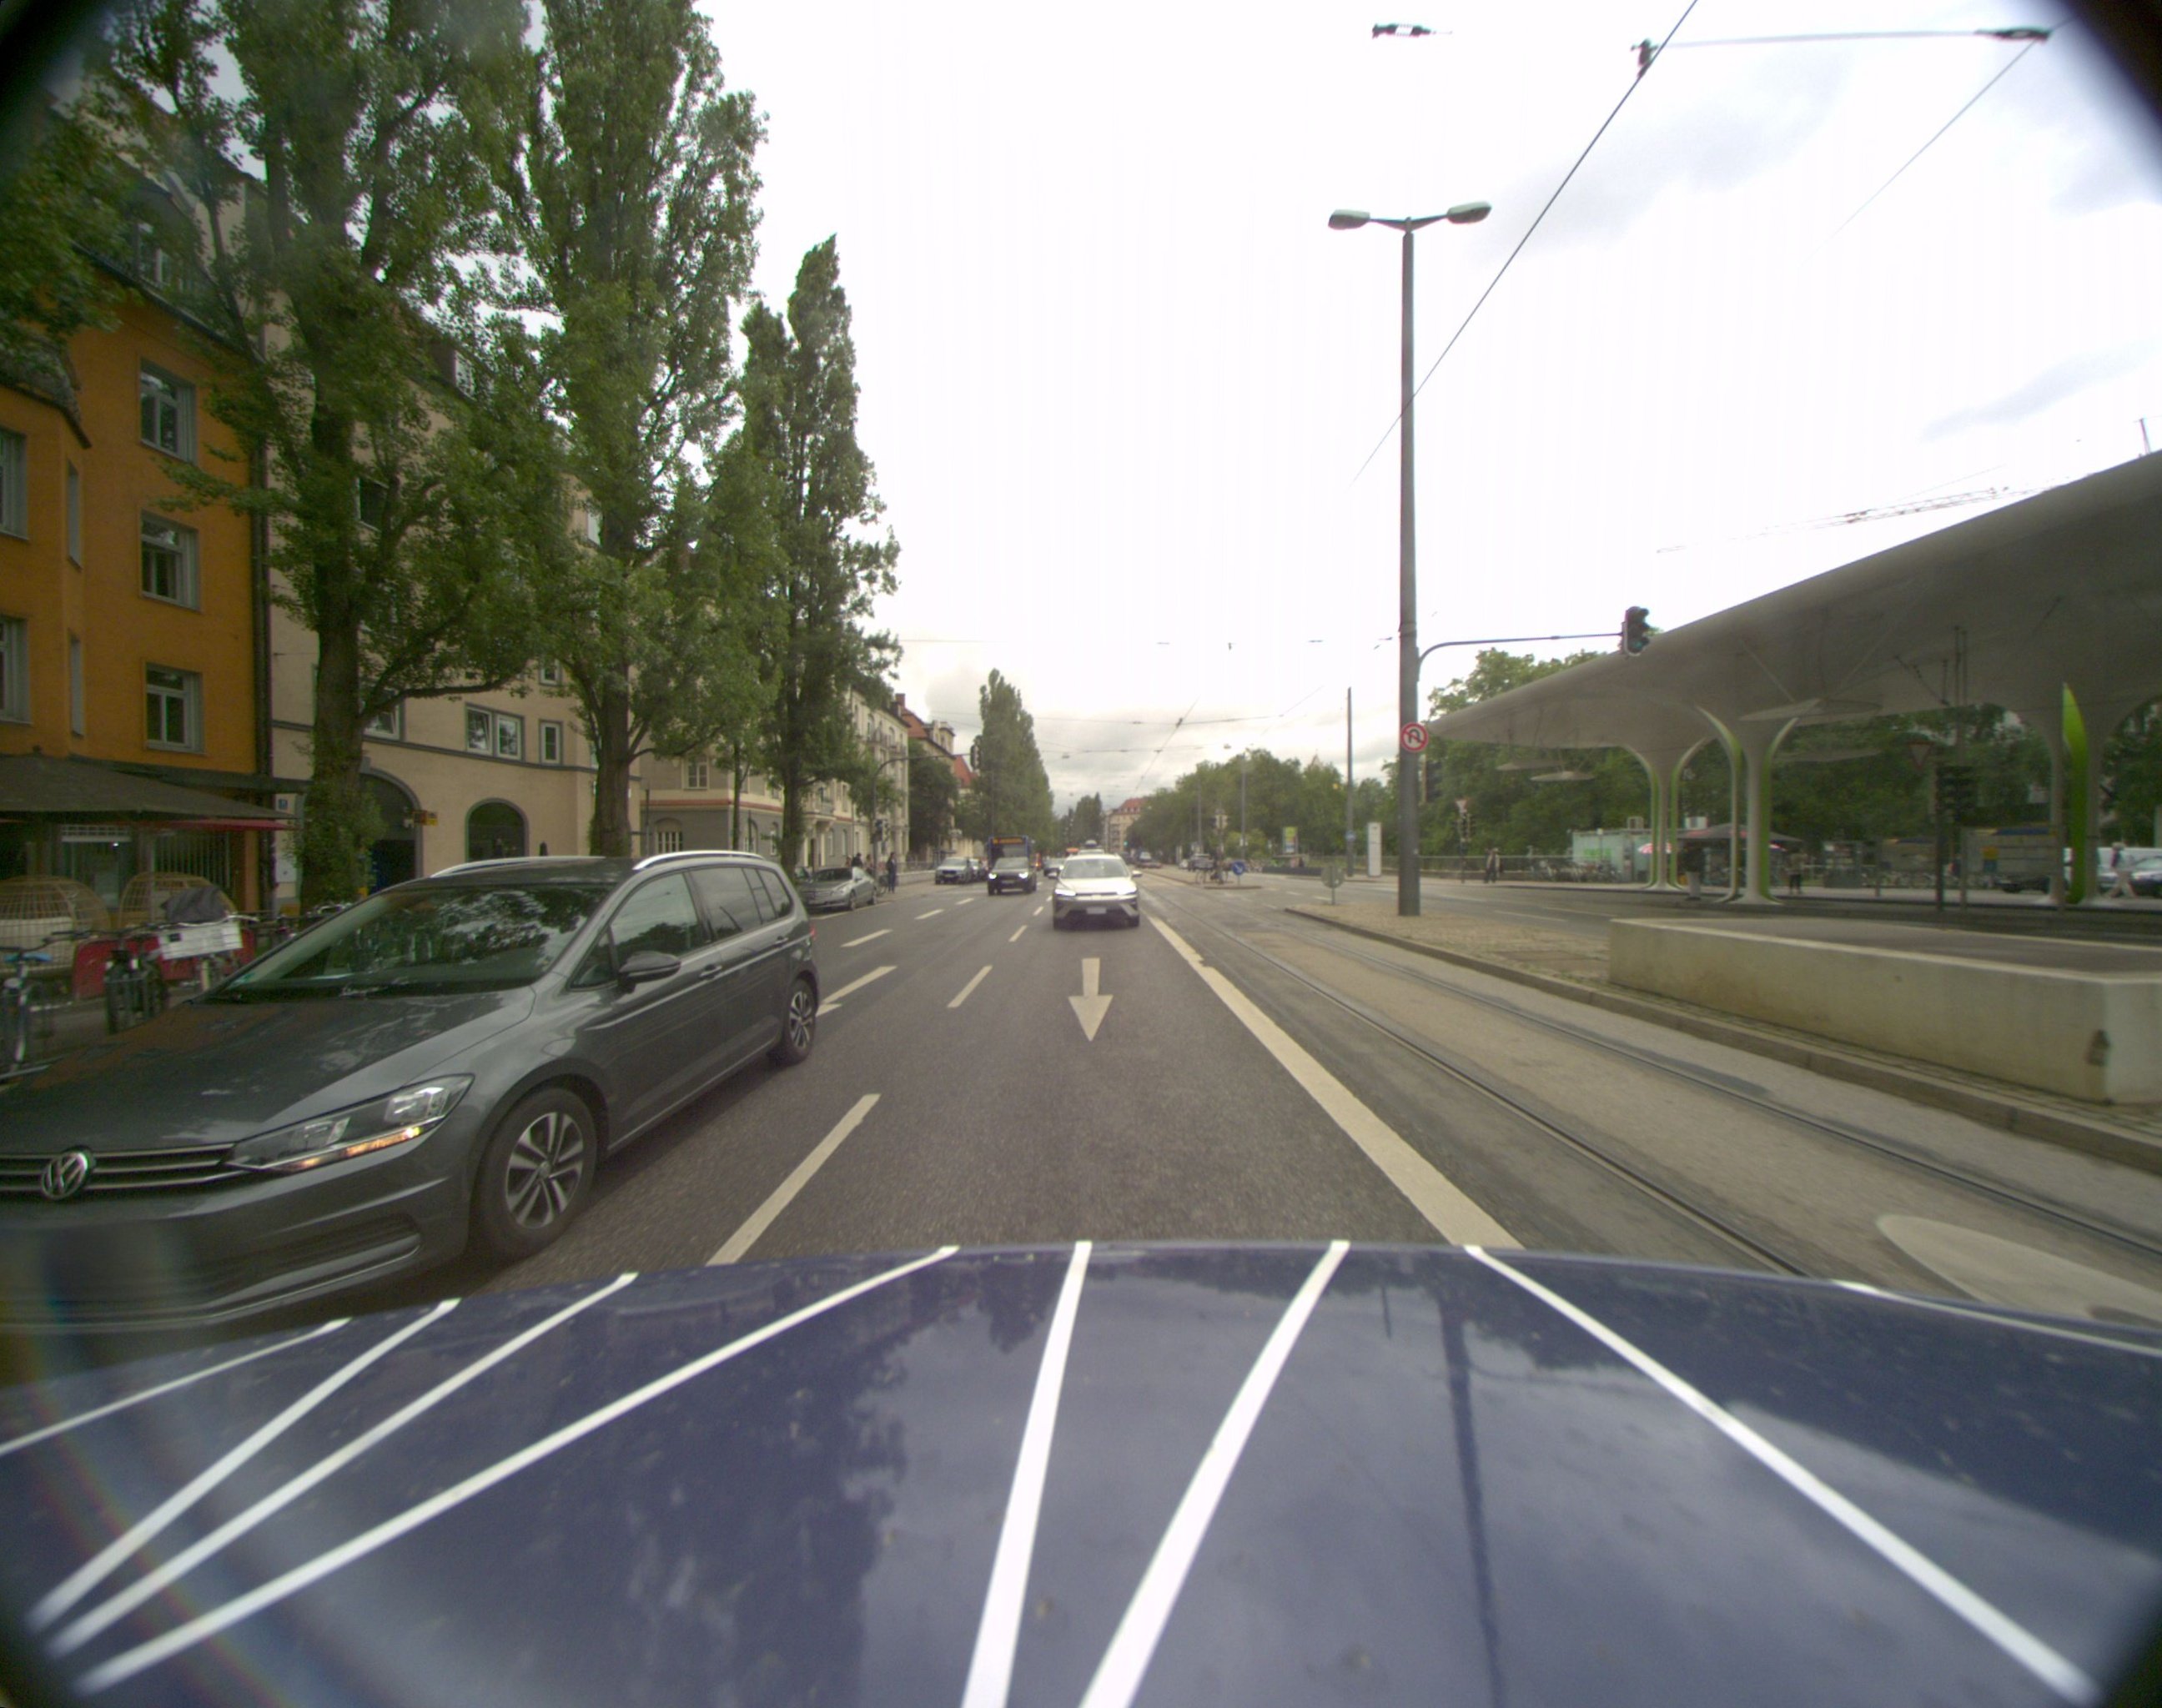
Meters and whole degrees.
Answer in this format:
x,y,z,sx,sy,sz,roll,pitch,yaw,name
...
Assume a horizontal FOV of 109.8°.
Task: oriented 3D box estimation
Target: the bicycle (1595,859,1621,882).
x,y,z,sx,sy,sz,roll,pitch,yaw,name
26.750,0.817,38.593,0.479,1.090,1.851,0,0,14,bicycle

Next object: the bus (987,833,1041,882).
x,y,z,sx,sy,sz,roll,pitch,yaw,name
-4.450,0.220,52.408,2.637,2.956,9.466,-2,0,1,bus

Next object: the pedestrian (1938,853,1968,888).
x,y,z,sx,sy,sz,roll,pitch,yaw,name
40.444,0.764,35.249,0.635,1.573,0.636,-1,1,1,pedestrian

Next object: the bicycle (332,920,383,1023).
x,y,z,sx,sy,sz,roll,pitch,yaw,name
-8.310,1.298,8.720,0.376,0.990,1.837,-1,-1,-44,bicycle

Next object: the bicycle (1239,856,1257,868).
x,y,z,sx,sy,sz,roll,pitch,yaw,name
16.527,0.799,75.326,1.692,1.165,0.562,-1,1,-2,bicycle

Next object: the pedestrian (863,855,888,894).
x,y,z,sx,sy,sz,roll,pitch,yaw,name
-8.741,0.869,32.345,0.758,1.628,0.699,-1,0,-42,pedestrian

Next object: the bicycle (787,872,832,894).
x,y,z,sx,sy,sz,roll,pitch,yaw,name
-12.108,1.282,33.932,1.837,0.911,0.392,-2,1,2,bicycle

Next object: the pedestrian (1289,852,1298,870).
x,y,z,sx,sy,sz,roll,pitch,yaw,name
18.640,0.626,66.590,0.632,1.549,0.589,0,1,0,pedestrian

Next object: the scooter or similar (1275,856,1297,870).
x,y,z,sx,sy,sz,roll,pitch,yaw,name
17.293,0.782,64.151,1.692,1.165,0.562,-1,1,-2,scooter or similar

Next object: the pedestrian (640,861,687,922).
x,y,z,sx,sy,sz,roll,pitch,yaw,name
-10.935,0.980,19.923,0.761,1.553,0.763,-1,0,2,pedestrian

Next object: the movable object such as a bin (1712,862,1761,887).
x,y,z,sx,sy,sz,roll,pitch,yaw,name
29.254,0.925,33.920,1.336,1.078,0.957,0,1,1,movable object such as a bin

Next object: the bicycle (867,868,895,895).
x,y,z,sx,sy,sz,roll,pitch,yaw,name
-8.538,1.137,32.352,0.360,1.096,1.740,-1,1,-43,bicycle

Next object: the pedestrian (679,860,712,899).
x,y,z,sx,sy,sz,roll,pitch,yaw,name
-15.859,1.041,31.243,0.847,1.593,0.824,0,1,15,pedestrian

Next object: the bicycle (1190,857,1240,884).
x,y,z,sx,sy,sz,roll,pitch,yaw,name
6.160,0.757,34.954,2.233,1.144,0.505,-2,1,-17,bicycle

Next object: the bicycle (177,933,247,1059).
x,y,z,sx,sy,sz,roll,pitch,yaw,name
-8.355,1.303,7.290,1.837,0.990,0.376,-2,-1,39,bicycle

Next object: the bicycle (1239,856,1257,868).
x,y,z,sx,sy,sz,roll,pitch,yaw,name
16.427,0.793,74.753,1.693,1.165,0.505,-1,1,-3,bicycle

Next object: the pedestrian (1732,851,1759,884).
x,y,z,sx,sy,sz,roll,pitch,yaw,name
32.826,0.645,37.543,0.739,1.591,0.798,0,1,16,pedestrian

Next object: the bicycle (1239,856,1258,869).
x,y,z,sx,sy,sz,roll,pitch,yaw,name
16.053,0.815,72.886,1.693,1.165,0.561,-1,1,-9,bicycle

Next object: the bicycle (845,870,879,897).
x,y,z,sx,sy,sz,roll,pitch,yaw,name
-9.136,1.208,31.617,1.740,1.096,0.360,0,1,36,bicycle

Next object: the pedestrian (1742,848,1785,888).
x,y,z,sx,sy,sz,roll,pitch,yaw,name
30.424,0.627,33.890,1.031,1.752,0.957,0,1,1,pedestrian

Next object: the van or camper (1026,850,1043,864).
x,y,z,sx,sy,sz,roll,pitch,yaw,name
-6.770,0.422,111.147,2.124,2.086,5.513,-1,0,0,van or camper

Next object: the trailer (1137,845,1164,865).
x,y,z,sx,sy,sz,roll,pitch,yaw,name
10.196,0.142,112.795,2.616,2.666,15.639,1,0,0,trailer

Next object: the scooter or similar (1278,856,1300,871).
x,y,z,sx,sy,sz,roll,pitch,yaw,name
17.222,0.788,62.968,1.692,1.165,0.562,-1,1,-2,scooter or similar

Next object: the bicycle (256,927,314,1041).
x,y,z,sx,sy,sz,roll,pitch,yaw,name
-8.324,1.299,7.926,1.837,0.990,0.376,-2,-1,43,bicycle

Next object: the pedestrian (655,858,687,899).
x,y,z,sx,sy,sz,roll,pitch,yaw,name
-17.049,1.002,31.616,0.748,1.675,1.017,0,1,1,pedestrian

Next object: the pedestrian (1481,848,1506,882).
x,y,z,sx,sy,sz,roll,pitch,yaw,name
20.048,0.516,36.914,0.739,1.619,0.741,-1,1,-20,pedestrian

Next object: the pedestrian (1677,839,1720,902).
x,y,z,sx,sy,sz,roll,pitch,yaw,name
18.118,0.475,22.305,0.667,1.828,0.808,-1,1,-31,pedestrian

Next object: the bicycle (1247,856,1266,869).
x,y,z,sx,sy,sz,roll,pitch,yaw,name
16.420,0.803,71.128,1.693,1.165,0.561,-1,1,-9,bicycle

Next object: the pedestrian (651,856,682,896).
x,y,z,sx,sy,sz,roll,pitch,yaw,name
-18.223,0.959,33.414,0.748,1.704,1.017,0,1,1,pedestrian

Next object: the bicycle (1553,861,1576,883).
x,y,z,sx,sy,sz,roll,pitch,yaw,name
24.819,0.903,39.015,0.479,1.090,1.851,0,0,14,bicycle

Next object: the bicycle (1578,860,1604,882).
x,y,z,sx,sy,sz,roll,pitch,yaw,name
26.030,0.849,38.801,0.479,1.090,1.851,0,0,14,bicycle

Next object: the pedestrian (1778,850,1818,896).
x,y,z,sx,sy,sz,roll,pitch,yaw,name
25.577,0.659,27.095,0.749,1.600,0.837,-1,1,-28,pedestrian

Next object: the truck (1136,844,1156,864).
x,y,z,sx,sy,sz,roll,pitch,yaw,name
10.225,-0.053,120.696,2.572,3.069,7.690,1,0,0,truck

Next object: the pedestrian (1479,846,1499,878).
x,y,z,sx,sy,sz,roll,pitch,yaw,name
21.758,0.436,40.515,0.735,1.706,0.861,0,1,11,pedestrian

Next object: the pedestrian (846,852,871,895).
x,y,z,sx,sy,sz,roll,pitch,yaw,name
-9.283,0.827,31.739,0.699,1.770,0.652,-1,0,34,pedestrian

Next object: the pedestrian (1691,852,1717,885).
x,y,z,sx,sy,sz,roll,pitch,yaw,name
31.119,0.721,37.967,0.739,1.591,0.798,0,1,16,pedestrian

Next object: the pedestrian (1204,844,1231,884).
x,y,z,sx,sy,sz,roll,pitch,yaw,name
6.258,0.435,34.839,0.861,1.801,0.896,-2,1,-16,pedestrian

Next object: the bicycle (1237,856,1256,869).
x,y,z,sx,sy,sz,roll,pitch,yaw,name
16.027,0.815,73.471,1.693,1.165,0.505,-1,1,-7,bicycle

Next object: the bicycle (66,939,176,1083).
x,y,z,sx,sy,sz,roll,pitch,yaw,name
-8.370,1.306,6.667,0.376,0.990,1.837,-1,-1,-45,bicycle

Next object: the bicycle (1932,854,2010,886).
x,y,z,sx,sy,sz,roll,pitch,yaw,name
41.116,0.733,35.166,0.635,1.413,2.563,-1,0,1,bicycle

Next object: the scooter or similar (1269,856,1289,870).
x,y,z,sx,sy,sz,roll,pitch,yaw,name
17.274,0.777,66.332,1.695,1.165,0.561,-1,1,-18,scooter or similar

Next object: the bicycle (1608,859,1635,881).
x,y,z,sx,sy,sz,roll,pitch,yaw,name
27.302,0.793,38.398,0.479,1.090,1.851,0,0,14,bicycle

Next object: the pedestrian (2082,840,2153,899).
x,y,z,sx,sy,sz,roll,pitch,yaw,name
35.562,0.517,26.093,1.003,2.002,1.028,0,1,9,pedestrian

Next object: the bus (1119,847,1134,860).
x,y,z,sx,sy,sz,roll,pitch,yaw,name
10.883,-0.176,184.516,2.632,2.949,13.414,1,0,-1,bus

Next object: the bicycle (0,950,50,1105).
x,y,z,sx,sy,sz,roll,pitch,yaw,name
-8.422,1.310,5.930,1.837,0.990,0.376,-2,-1,38,bicycle

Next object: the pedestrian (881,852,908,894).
x,y,z,sx,sy,sz,roll,pitch,yaw,name
-8.211,0.828,33.555,0.881,1.791,0.757,-1,0,11,pedestrian

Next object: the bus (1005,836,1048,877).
x,y,z,sx,sy,sz,roll,pitch,yaw,name
-4.276,0.188,61.400,2.637,2.956,8.534,-2,0,1,bus

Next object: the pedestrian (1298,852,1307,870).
x,y,z,sx,sy,sz,roll,pitch,yaw,name
19.441,0.589,66.727,0.632,1.549,0.589,0,1,0,pedestrian
